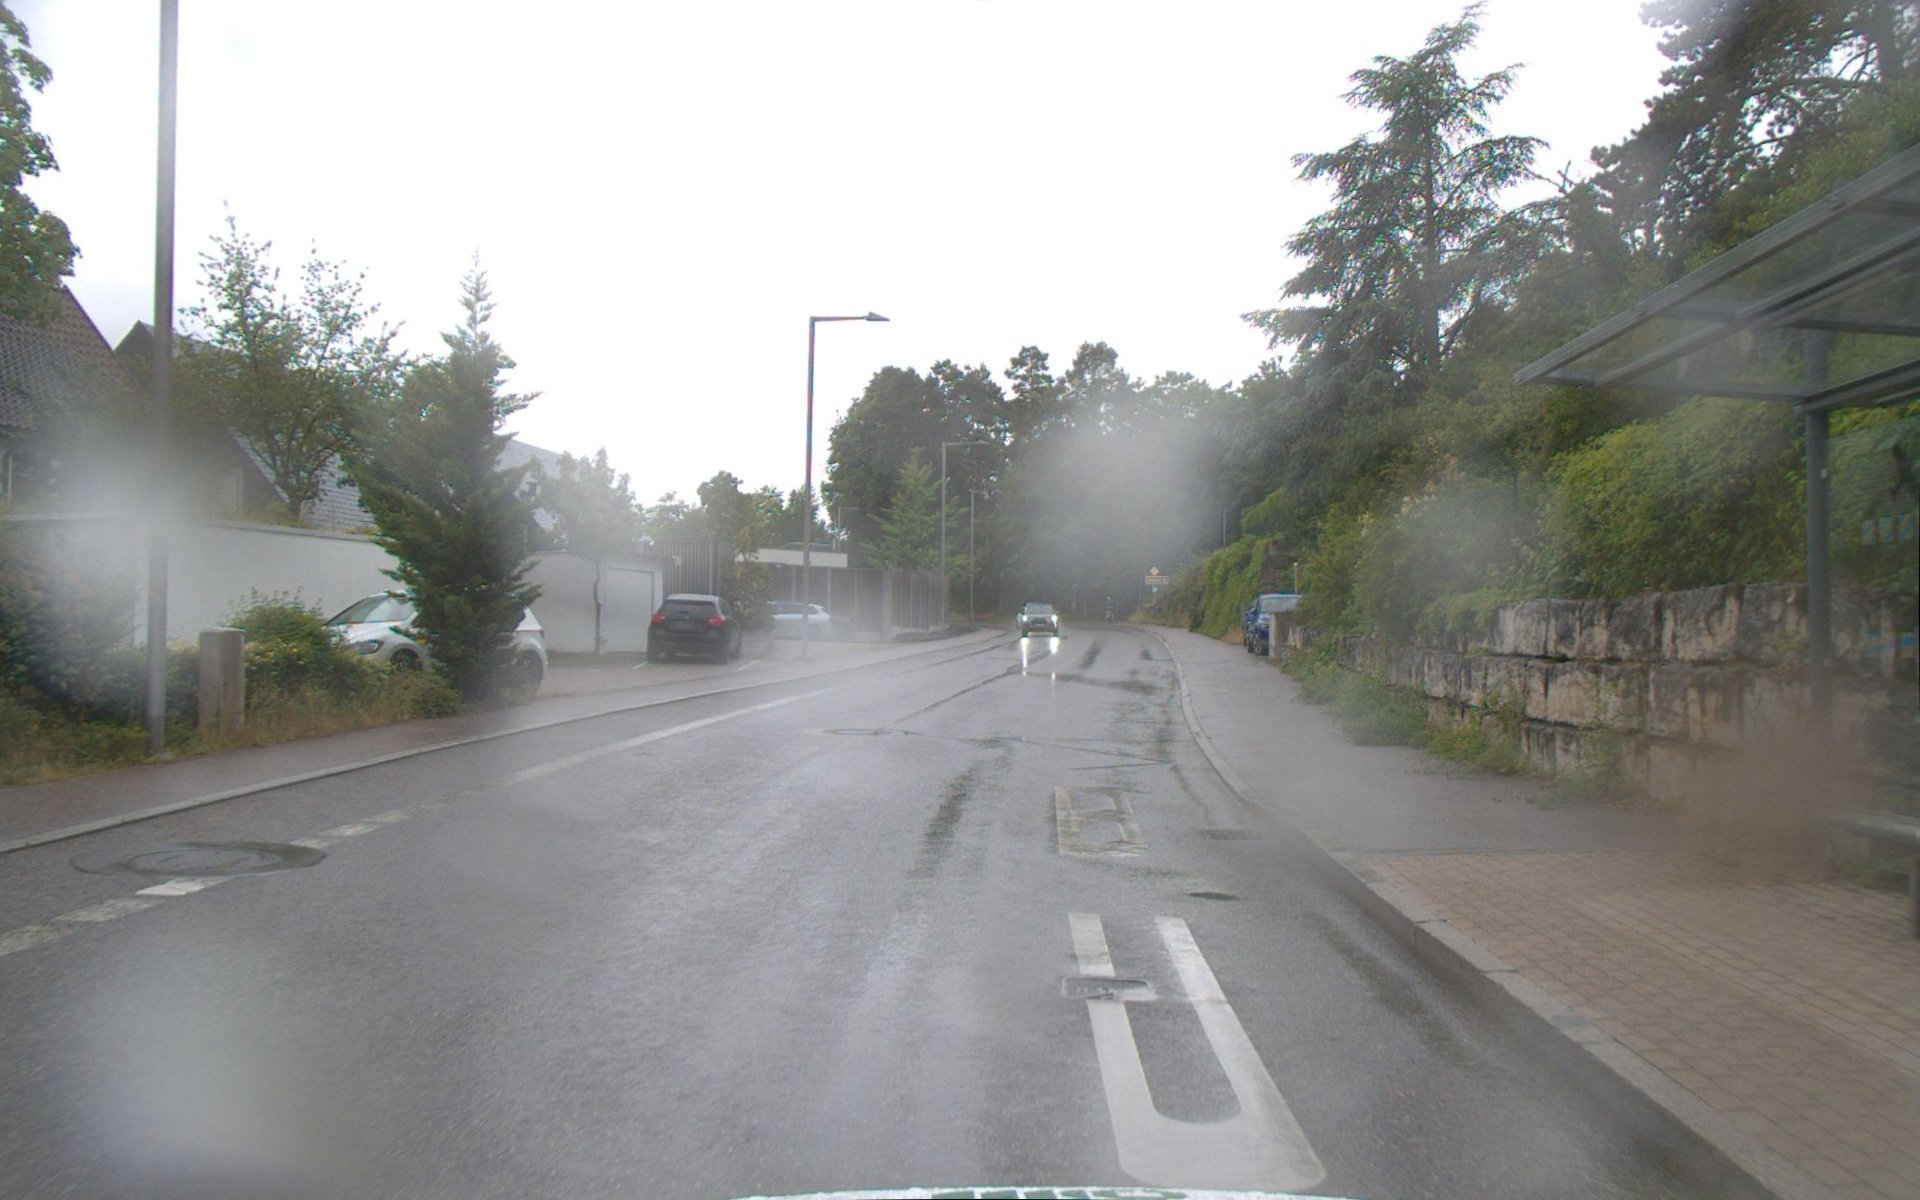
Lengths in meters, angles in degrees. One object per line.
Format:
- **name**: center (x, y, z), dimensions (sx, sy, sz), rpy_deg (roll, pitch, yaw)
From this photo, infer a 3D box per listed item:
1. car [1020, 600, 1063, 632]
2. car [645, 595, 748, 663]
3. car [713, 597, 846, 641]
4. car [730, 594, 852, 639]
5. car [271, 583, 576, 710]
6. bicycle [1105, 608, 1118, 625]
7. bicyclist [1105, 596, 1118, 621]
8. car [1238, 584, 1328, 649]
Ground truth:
- **car**: center (3.995, 0.777, 80.527), dimensions (1.811, 1.495, 3.702), rpy_deg (1, 0, 7)
- **car**: center (-5.908, 0.620, 37.518), dimensions (1.797, 1.430, 4.258), rpy_deg (1, 0, -3)
- **car**: center (-6.490, 0.686, 59.711), dimensions (4.476, 1.467, 1.741), rpy_deg (2, -1, -33)
- **car**: center (-6.410, 0.621, 62.821), dimensions (4.231, 1.629, 1.821), rpy_deg (1, 0, -28)
- **car**: center (-7.308, 0.595, 23.039), dimensions (1.670, 1.580, 4.389), rpy_deg (1, 0, 20)
- **bicycle**: center (10.218, 1.104, 111.564), dimensions (0.517, 1.104, 1.618), rpy_deg (1, 0, -7)
- **bicyclist**: center (10.228, 0.592, 111.578), dimensions (0.706, 1.643, 0.904), rpy_deg (1, 0, -6)
- **car**: center (9.142, 0.458, 47.150), dimensions (1.951, 1.699, 4.547), rpy_deg (-3, 0, 5)
